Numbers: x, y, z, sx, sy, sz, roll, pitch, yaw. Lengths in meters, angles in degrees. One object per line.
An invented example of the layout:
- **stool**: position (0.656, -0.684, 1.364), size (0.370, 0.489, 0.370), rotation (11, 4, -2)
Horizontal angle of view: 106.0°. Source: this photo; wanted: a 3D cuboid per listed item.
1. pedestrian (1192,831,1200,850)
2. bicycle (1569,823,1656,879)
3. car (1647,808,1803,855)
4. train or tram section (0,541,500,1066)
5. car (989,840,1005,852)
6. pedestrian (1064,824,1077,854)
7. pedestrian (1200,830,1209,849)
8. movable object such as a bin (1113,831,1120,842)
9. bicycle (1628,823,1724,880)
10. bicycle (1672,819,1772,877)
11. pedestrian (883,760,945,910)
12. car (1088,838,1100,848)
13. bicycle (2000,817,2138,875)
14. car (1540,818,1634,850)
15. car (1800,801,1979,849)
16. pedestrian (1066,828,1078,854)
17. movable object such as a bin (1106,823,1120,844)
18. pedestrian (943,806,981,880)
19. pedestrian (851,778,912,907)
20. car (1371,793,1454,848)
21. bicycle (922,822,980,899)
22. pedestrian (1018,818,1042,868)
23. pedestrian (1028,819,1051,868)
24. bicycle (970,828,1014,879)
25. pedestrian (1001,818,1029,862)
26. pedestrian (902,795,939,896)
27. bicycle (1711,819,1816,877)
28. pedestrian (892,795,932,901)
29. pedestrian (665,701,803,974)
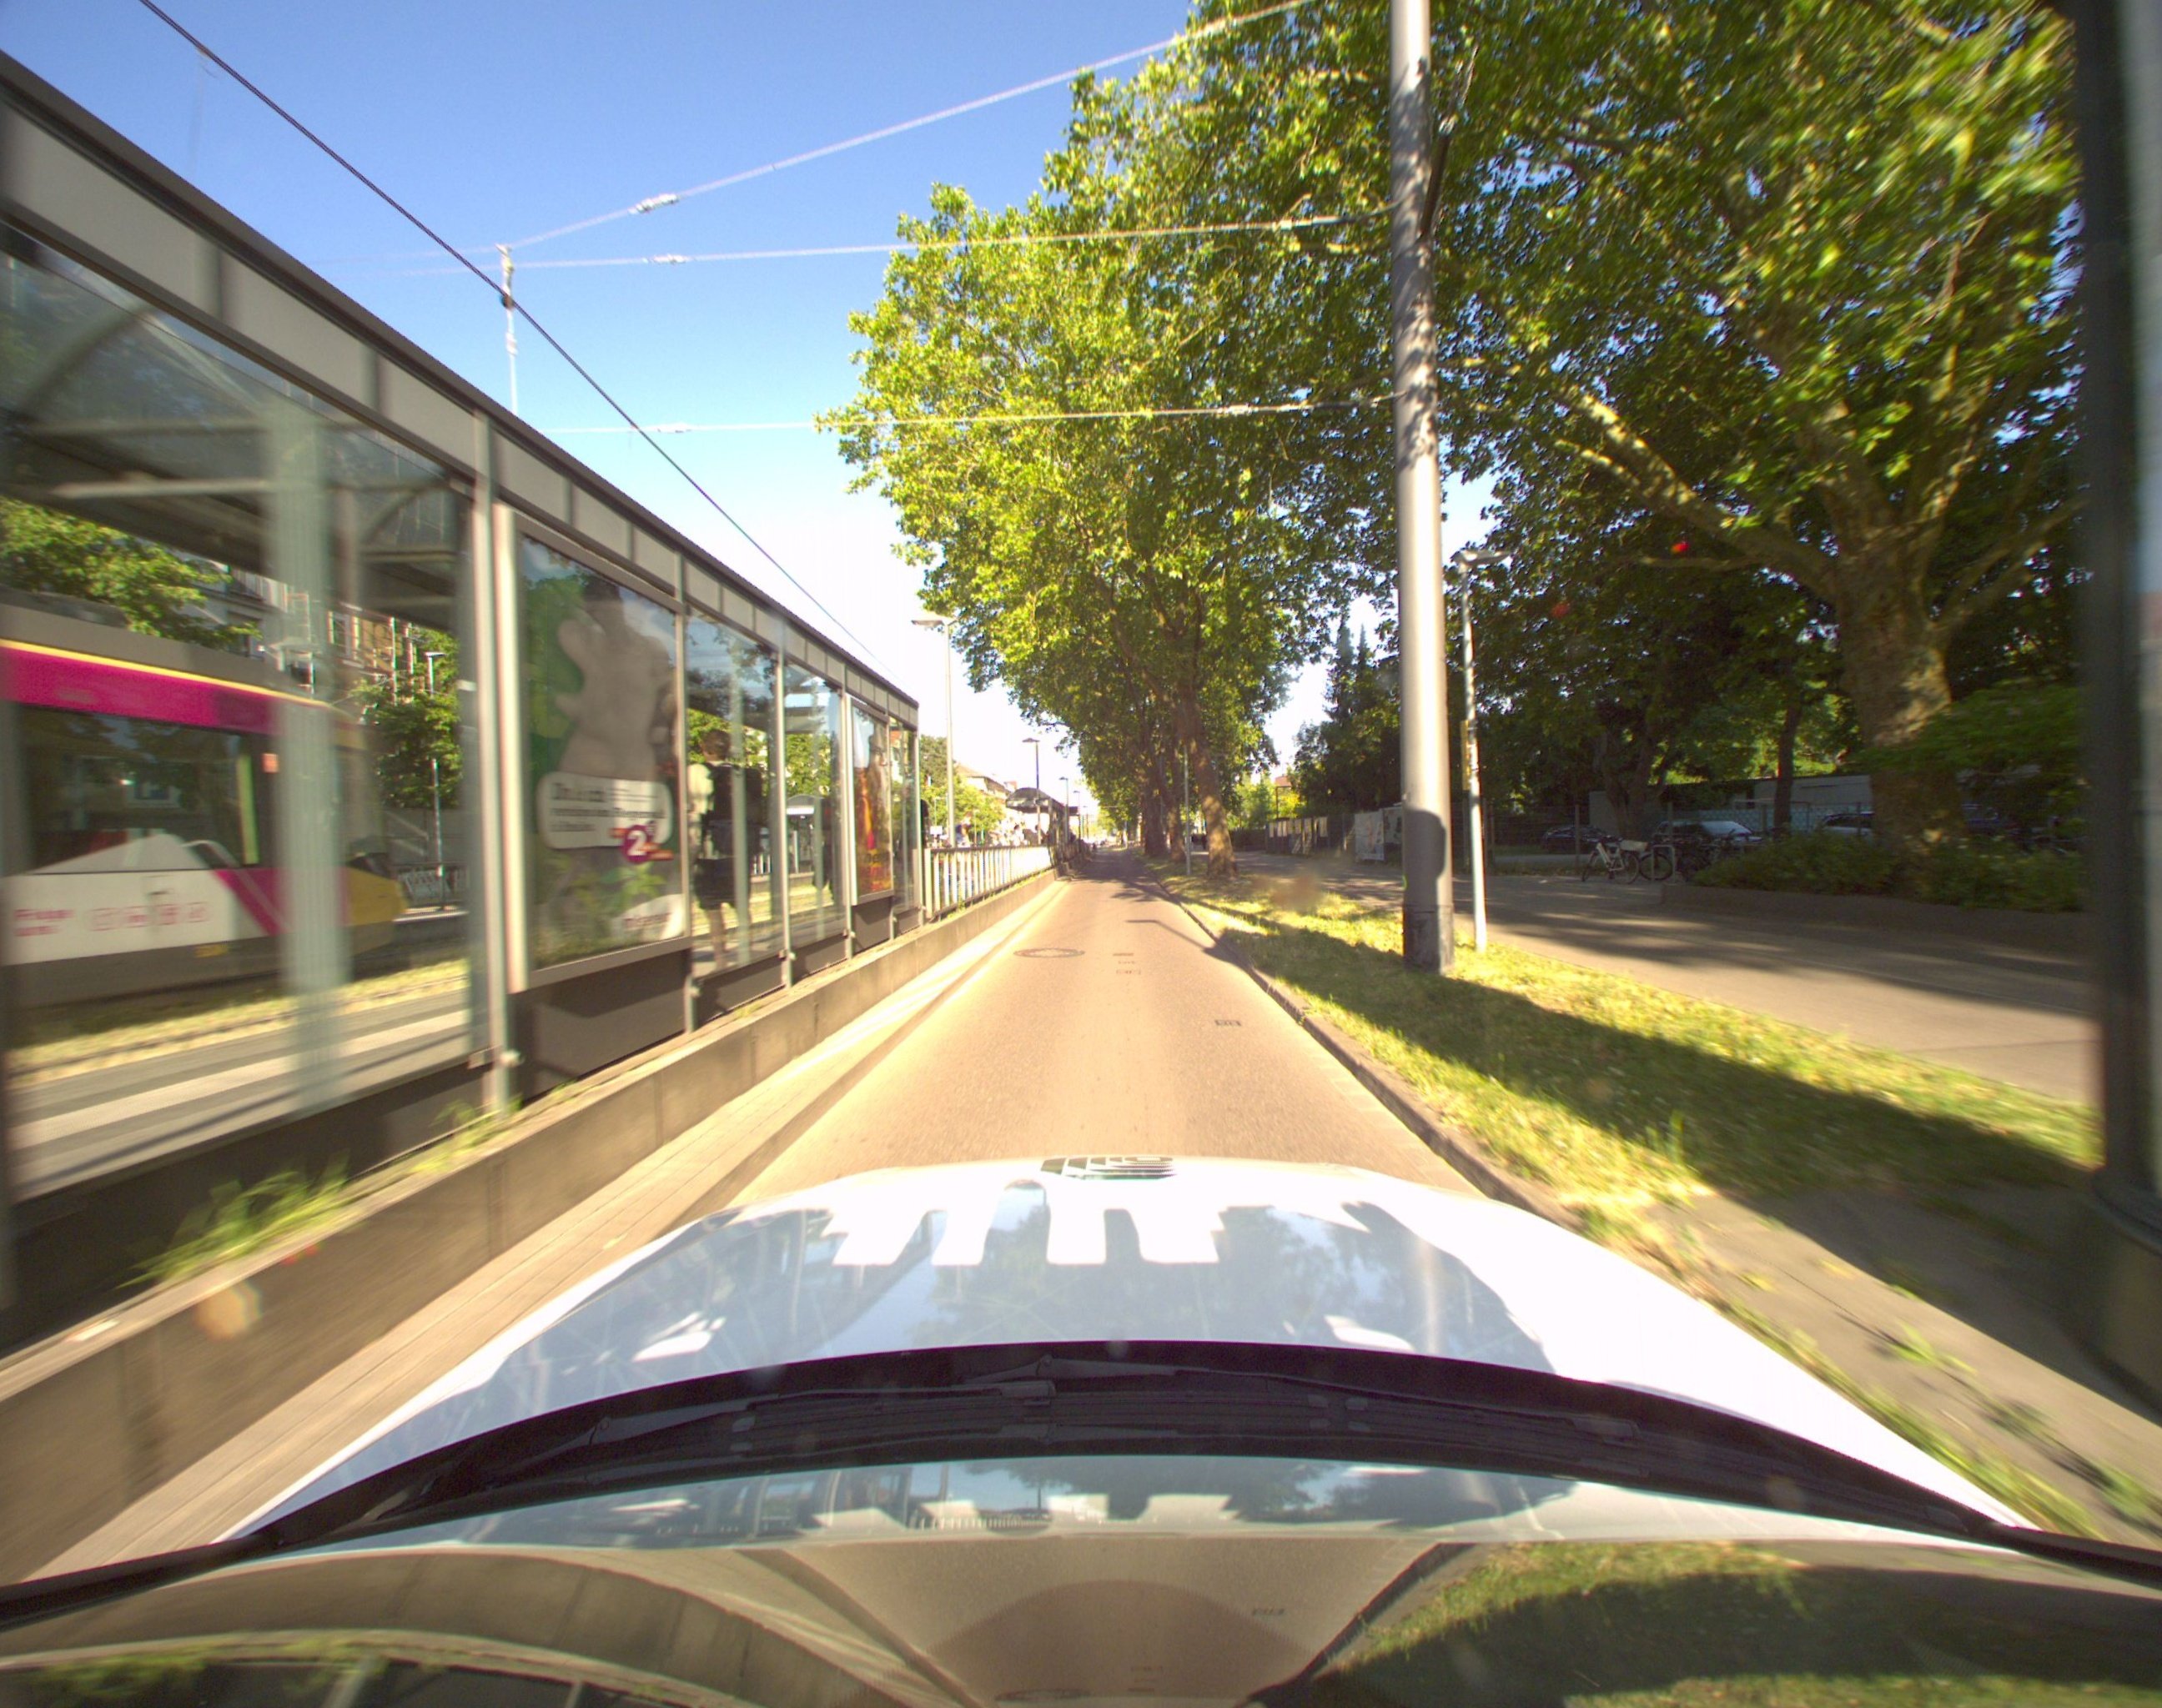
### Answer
- **pedestrian**: position (10.467, -1.212, 74.110), size (0.625, 1.656, 0.740), rotation (-3, 1, 2)
- **bicycle**: position (11.662, -0.082, 17.949), size (0.786, 1.177, 1.821), rotation (0, 1, 2)
- **car**: position (21.200, -0.725, 27.042), size (1.988, 1.453, 3.998), rotation (0, 1, -1)
- **train or tram section**: position (-9.009, -0.319, 5.442), size (2.858, 3.685, 9.691), rotation (-2, 1, 2)
- **car**: position (-13.403, -1.329, 130.546), size (1.856, 1.806, 4.032), rotation (0, 1, 4)
- **pedestrian**: position (-0.594, -0.848, 46.921), size (0.676, 1.690, 0.895), rotation (0, 1, 2)
- **pedestrian**: position (11.234, -1.293, 74.022), size (0.647, 1.656, 0.784), rotation (-3, 1, 2)
- **movable object such as a bin**: position (10.258, -4.937, 236.336), size (1.961, 3.012, 4.798), rotation (-4, 1, 2)
- **bicycle**: position (12.923, -0.073, 17.761), size (0.786, 1.177, 1.821), rotation (0, 1, 2)
- **bicycle**: position (13.869, -0.141, 17.699), size (0.786, 1.177, 1.821), rotation (0, 1, 2)
- **pedestrian**: position (-2.298, -0.257, 11.276), size (0.596, 1.996, 0.826), rotation (0, 1, 7)
- **car**: position (2.226, -1.964, 141.837), size (1.986, 1.684, 4.003), rotation (0, 1, 2)
- **bicycle**: position (21.165, -0.173, 17.507), size (0.786, 1.177, 1.821), rotation (0, 1, 2)
- **car**: position (24.176, -0.938, 39.099), size (1.988, 1.453, 3.998), rotation (0, 1, -1)
- **car**: position (26.815, -0.931, 27.220), size (1.988, 1.453, 3.998), rotation (0, 1, -1)
- **pedestrian**: position (-0.588, -0.852, 54.145), size (0.754, 1.690, 0.679), rotation (0, 1, 2)
- **movable object such as a bin**: position (8.424, -5.354, 214.189), size (3.076, 5.087, 8.896), rotation (-4, 1, 2)
- **pedestrian**: position (-2.910, -0.264, 19.929), size (0.782, 1.770, 0.773), rotation (0, 1, 2)
- **pedestrian**: position (-2.878, -0.165, 11.828), size (0.596, 1.800, 0.826), rotation (0, 1, 7)
- **car**: position (16.355, -1.593, 40.581), size (1.984, 2.499, 6.354), rotation (0, 1, 4)
- **bicycle**: position (-2.041, 0.075, 12.993), size (0.511, 1.133, 2.105), rotation (0, 1, 2)
- **pedestrian**: position (-1.629, -0.358, 26.261), size (0.676, 1.562, 0.851), rotation (0, 1, 2)
- **pedestrian**: position (-1.517, -0.376, 29.745), size (0.762, 1.758, 0.695), rotation (0, 1, 1)
- **bicycle**: position (-2.043, -0.027, 18.972), size (0.734, 1.133, 2.032), rotation (0, 1, 2)
- **pedestrian**: position (-2.627, -0.542, 32.336), size (0.913, 1.721, 0.625), rotation (0, 1, -32)
- **pedestrian**: position (-2.772, -0.153, 14.107), size (0.504, 1.707, 0.729), rotation (0, 1, -1)
- **bicycle**: position (14.749, -0.136, 17.662), size (0.786, 1.177, 1.821), rotation (0, 1, 2)
- **pedestrian**: position (-2.773, -0.100, 13.404), size (0.547, 1.707, 0.599), rotation (0, 1, -1)
- **pedestrian**: position (-2.565, -0.123, 6.099), size (0.667, 1.902, 0.824), rotation (0, 1, 1)
